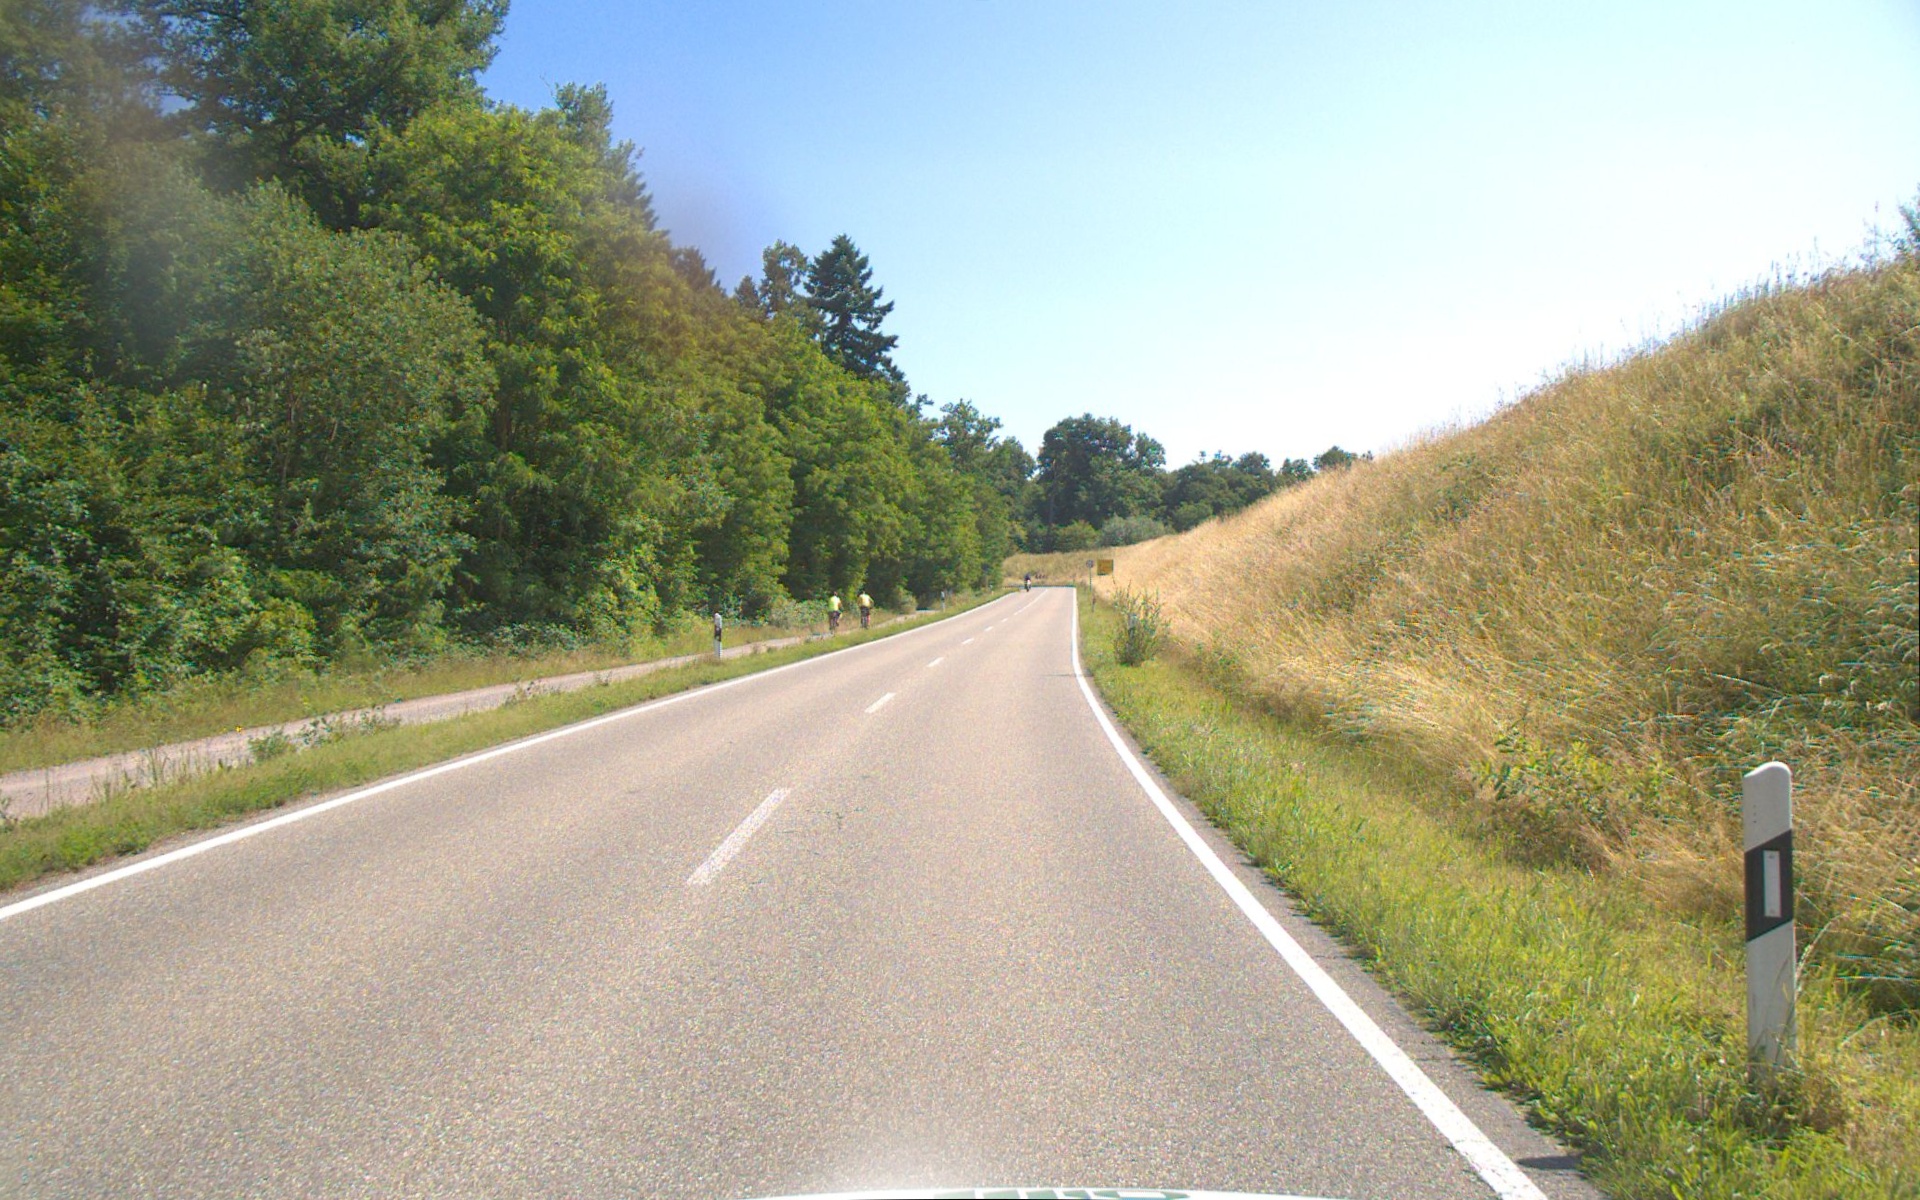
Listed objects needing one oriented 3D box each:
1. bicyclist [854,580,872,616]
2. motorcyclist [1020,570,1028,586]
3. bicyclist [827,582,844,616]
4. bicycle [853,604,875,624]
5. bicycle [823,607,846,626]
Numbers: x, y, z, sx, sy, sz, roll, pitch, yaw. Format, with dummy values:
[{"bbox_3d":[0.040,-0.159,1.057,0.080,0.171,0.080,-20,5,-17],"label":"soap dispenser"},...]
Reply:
[{"bbox_3d":[-4.038,-0.089,68.936,0.592,1.440,0.703,-2,0,4],"label":"bicyclist"},{"bbox_3d":[6.215,-2.120,160.434,0.646,1.555,0.814,-2,0,2],"label":"motorcyclist"},{"bbox_3d":[-5.232,-0.036,69.385,0.592,1.440,0.703,1,-1,4],"label":"bicyclist"},{"bbox_3d":[-4.001,0.576,68.999,0.626,0.802,2.138,-2,0,4],"label":"bicycle"},{"bbox_3d":[-5.252,0.684,69.294,0.606,0.693,2.138,-2,0,4],"label":"bicycle"}]
